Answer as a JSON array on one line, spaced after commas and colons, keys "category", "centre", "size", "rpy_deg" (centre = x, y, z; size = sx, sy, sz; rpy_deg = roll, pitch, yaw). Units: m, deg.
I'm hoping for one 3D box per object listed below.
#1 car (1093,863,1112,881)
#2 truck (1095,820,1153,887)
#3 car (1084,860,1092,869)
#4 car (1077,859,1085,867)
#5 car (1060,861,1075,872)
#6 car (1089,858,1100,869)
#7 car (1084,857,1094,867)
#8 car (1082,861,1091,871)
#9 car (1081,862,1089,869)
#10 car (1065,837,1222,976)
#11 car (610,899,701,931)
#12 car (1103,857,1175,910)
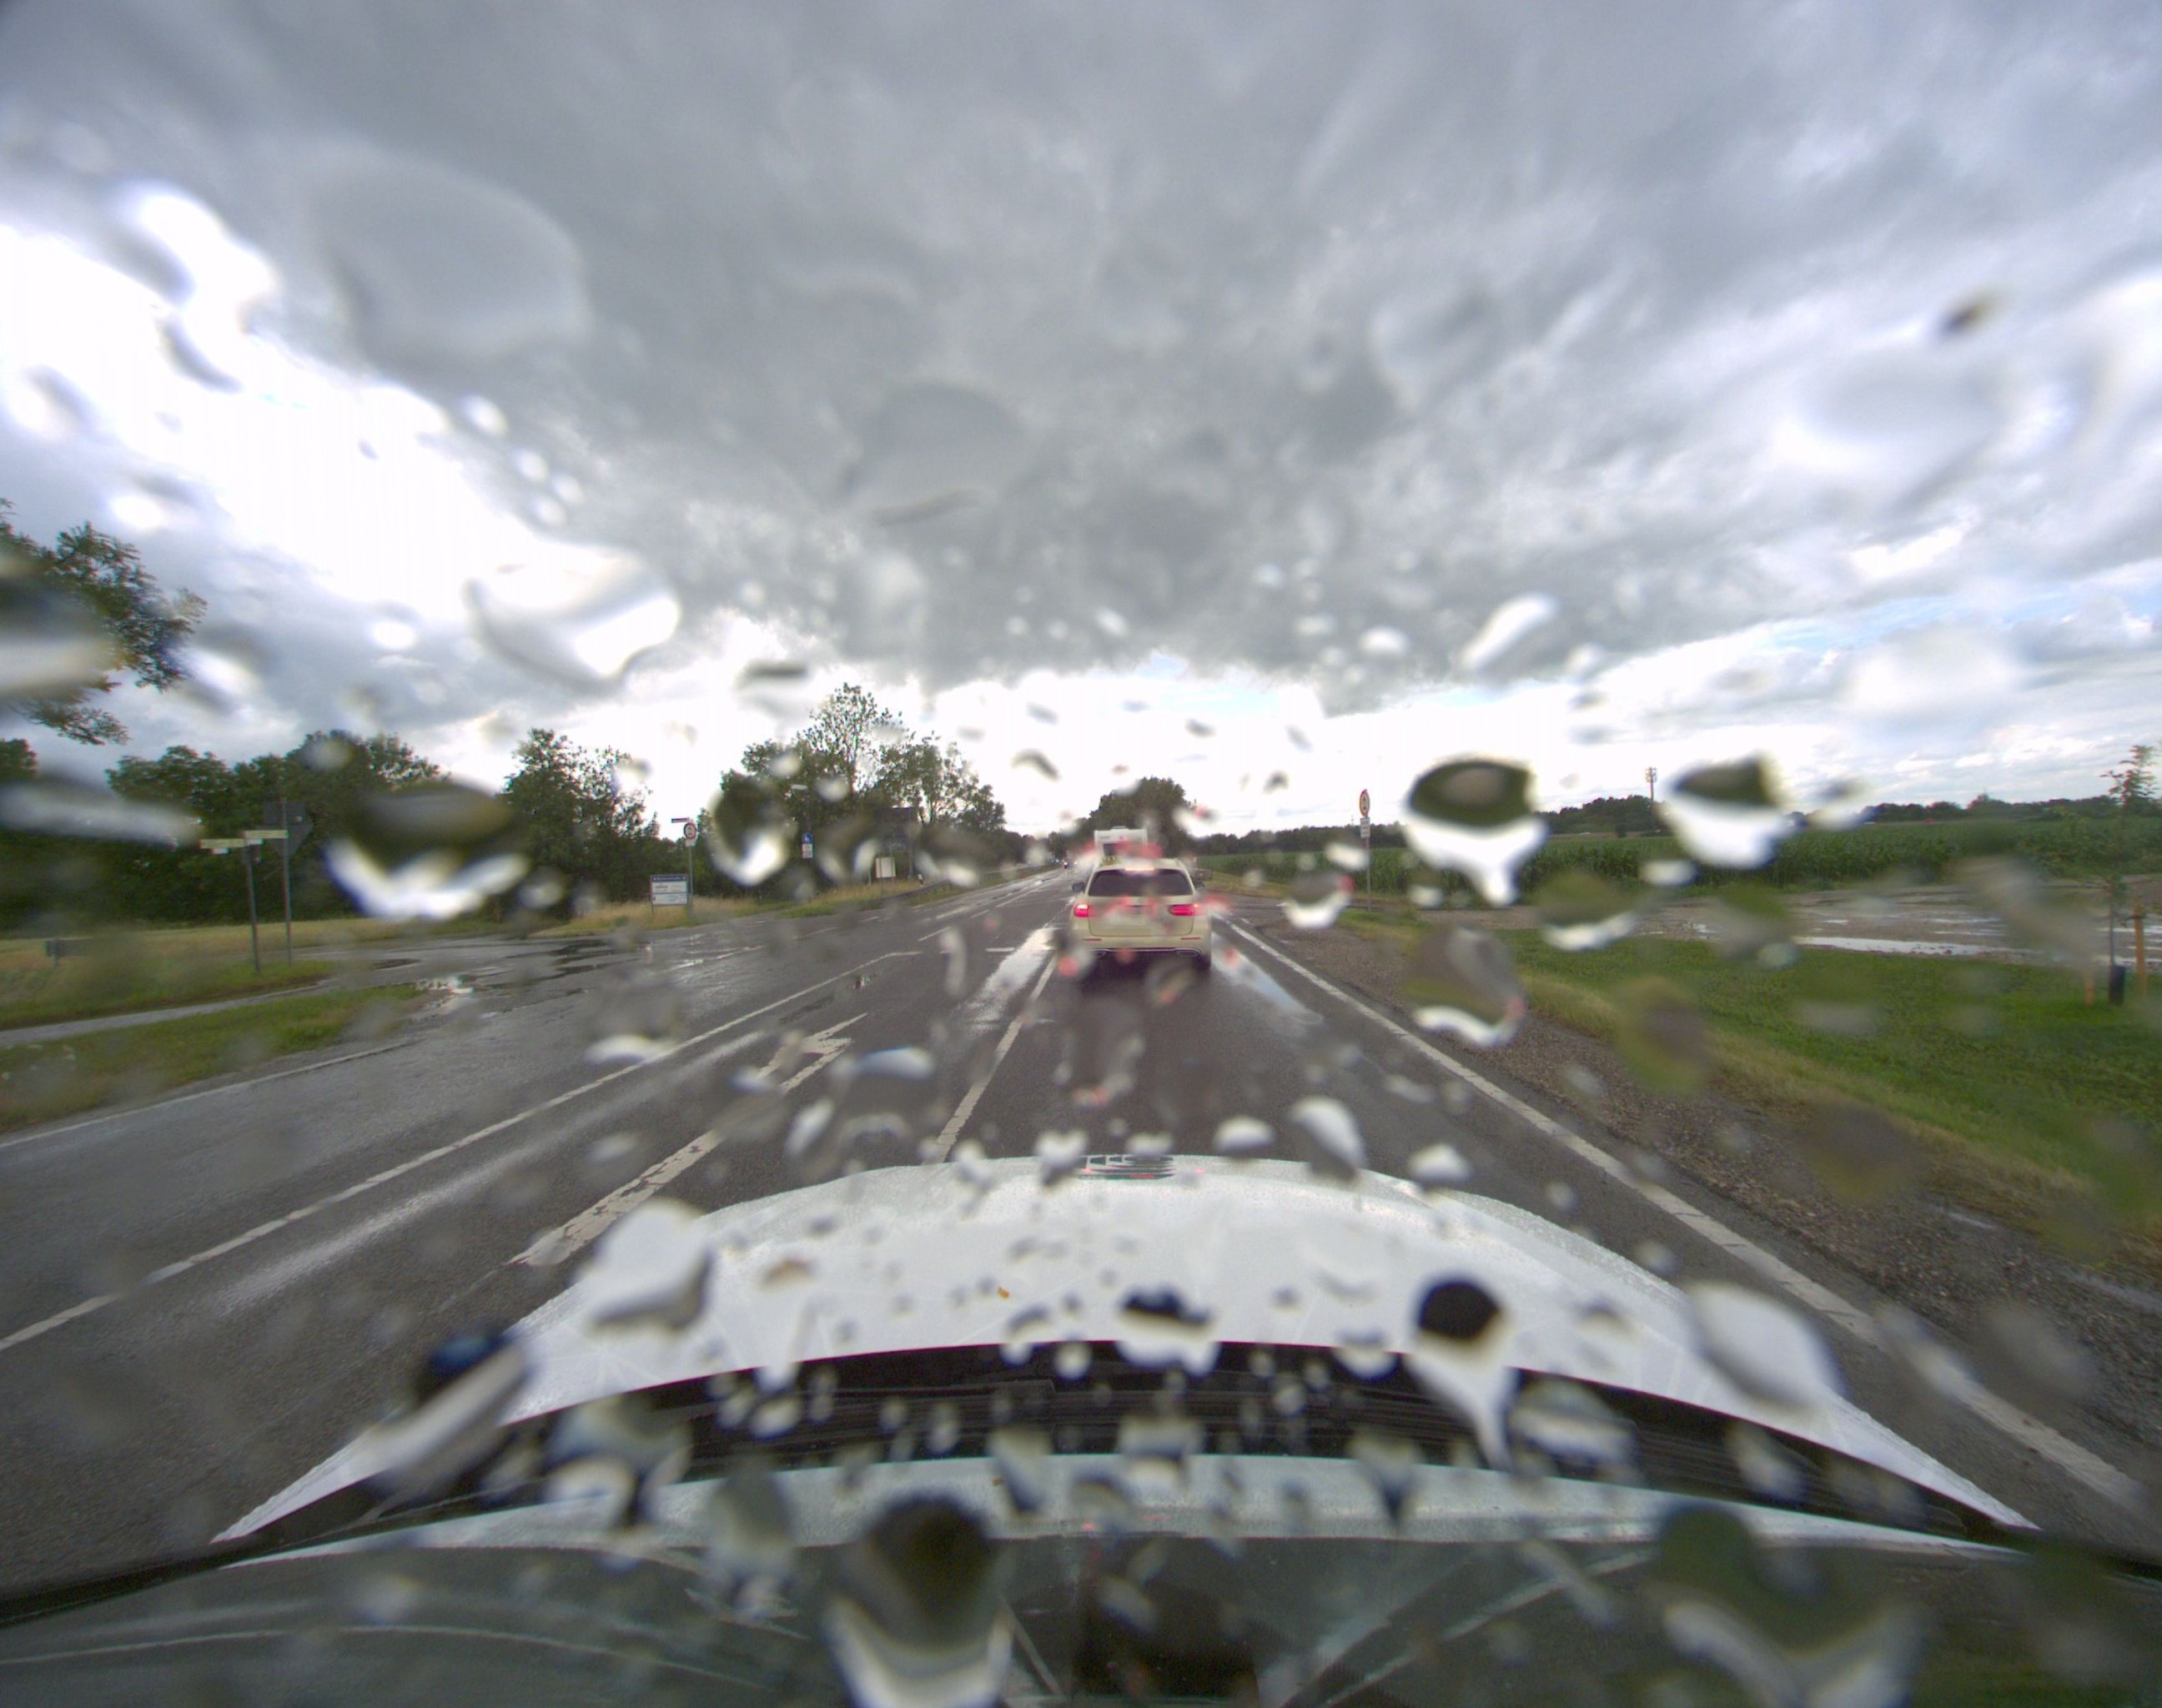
[{"category": "car", "centre": [2.491, 2.026, 93.352], "size": [1.906, 1.841, 3.801], "rpy_deg": [-2, 0, 5]}, {"category": "truck", "centre": [1.942, -0.009, 38.083], "size": [2.354, 2.729, 7.317], "rpy_deg": [-2, 0, 2]}, {"category": "car", "centre": [1.681, 2.447, 191.548], "size": [1.733, 1.860, 3.786], "rpy_deg": [-2, 0, 2]}, {"category": "car", "centre": [-0.009, 2.283, 209.671], "size": [1.890, 1.895, 3.841], "rpy_deg": [-2, 0, -1]}, {"category": "car", "centre": [-1.867, 1.714, 112.306], "size": [1.821, 1.574, 4.002], "rpy_deg": [0, 0, 2]}, {"category": "car", "centre": [2.315, 1.610, 138.309], "size": [1.784, 1.777, 3.722], "rpy_deg": [-2, 0, 2]}, {"category": "car", "centre": [1.562, 1.581, 157.078], "size": [1.872, 1.761, 3.835], "rpy_deg": [-3, 0, 2]}, {"category": "car", "centre": [1.139, 2.454, 165.708], "size": [1.845, 2.013, 3.812], "rpy_deg": [-2, 0, 2]}, {"category": "car", "centre": [0.933, 2.858, 201.746], "size": [1.744, 1.662, 3.669], "rpy_deg": [-2, 0, -3]}, {"category": "car", "centre": [0.807, 0.634, 11.656], "size": [1.836, 1.618, 4.002], "rpy_deg": [-1, 0, 2]}, {"category": "car", "centre": [-24.665, 3.496, 47.438], "size": [2.288, 1.547, 4.645], "rpy_deg": [0, 0, 10]}, {"category": "car", "centre": [1.693, 0.832, 24.807], "size": [1.986, 1.462, 4.001], "rpy_deg": [0, 0, 2]}]
